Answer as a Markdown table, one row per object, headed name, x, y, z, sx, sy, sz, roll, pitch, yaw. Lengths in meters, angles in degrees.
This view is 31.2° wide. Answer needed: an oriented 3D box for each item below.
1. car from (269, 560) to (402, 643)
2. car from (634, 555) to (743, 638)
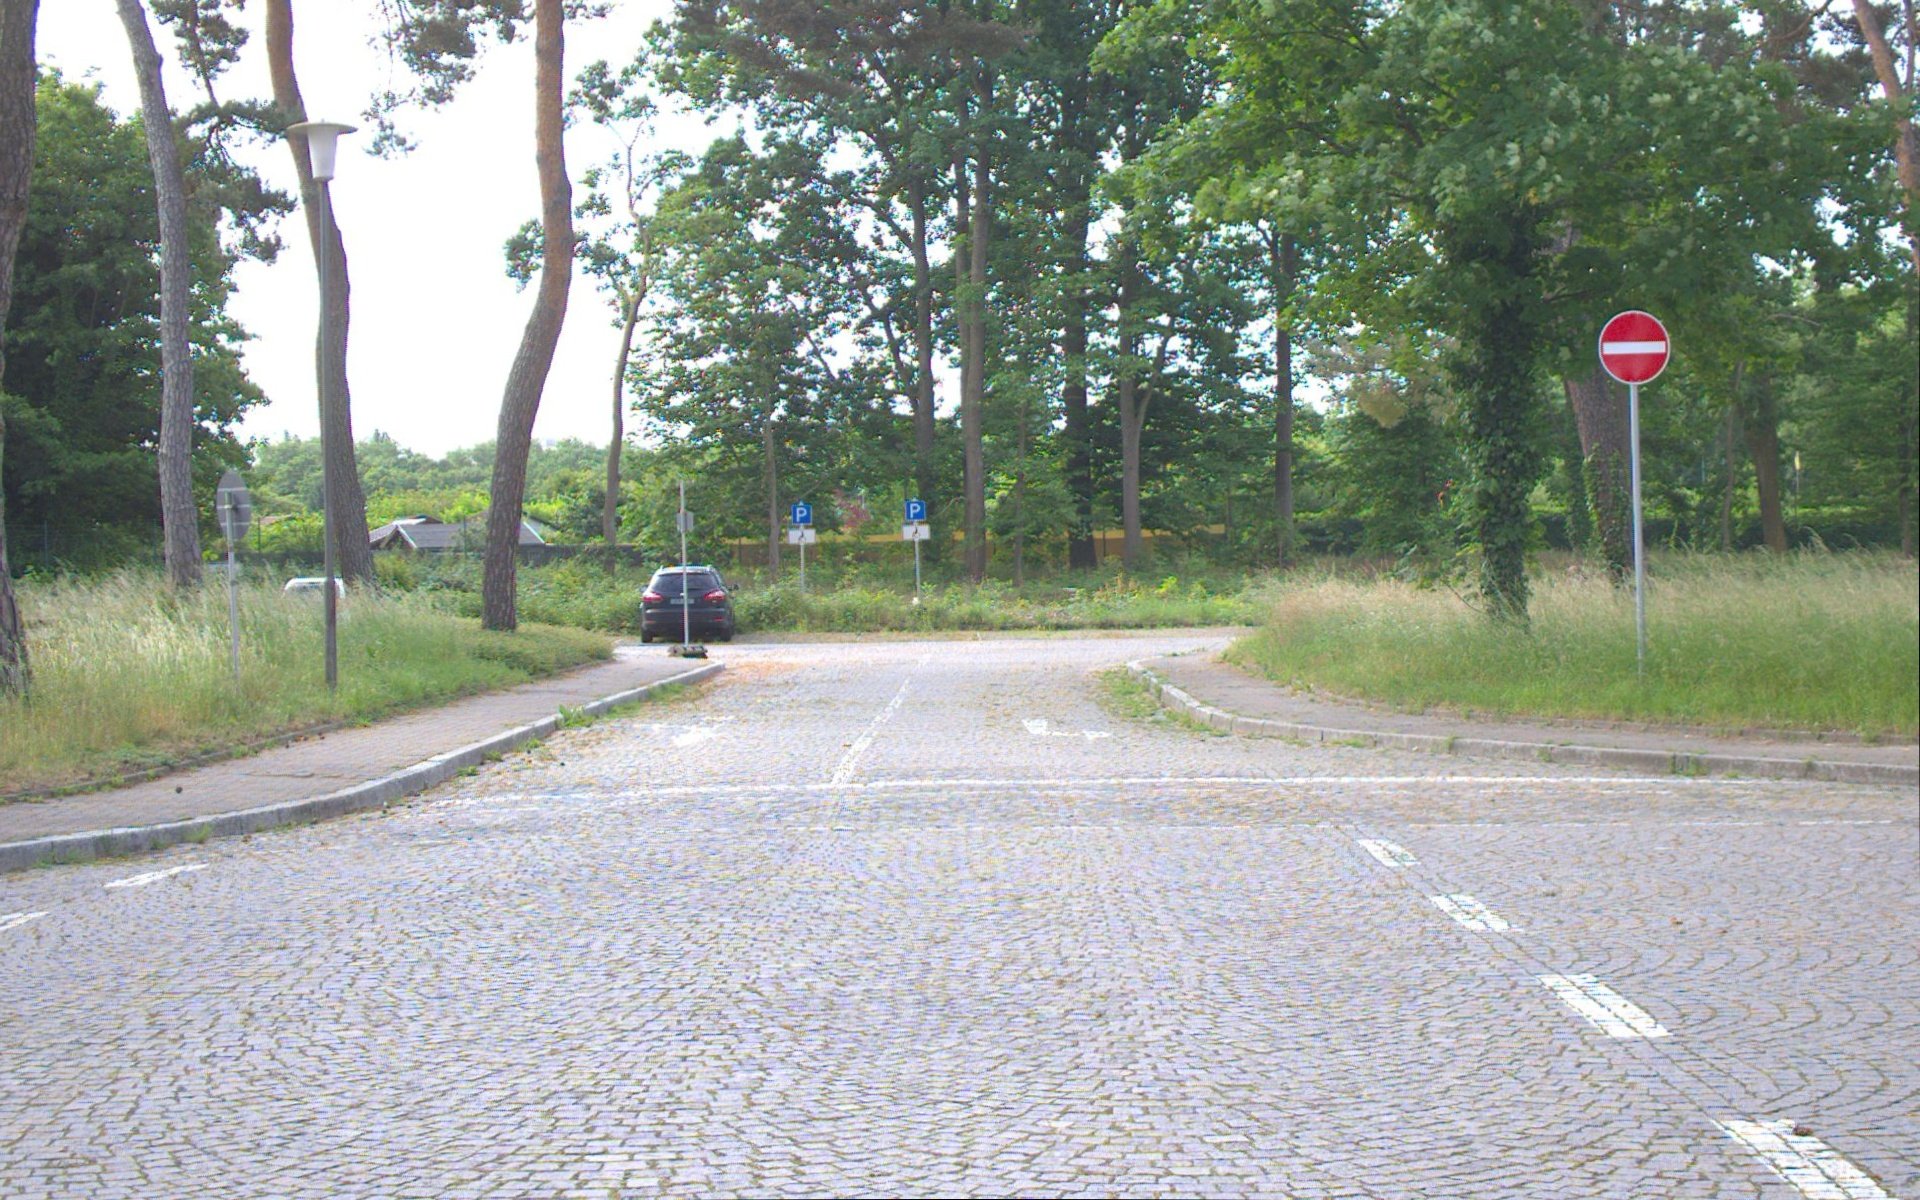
| name | x | y | z | sx | sy | sz | roll | pitch | yaw |
| --- | --- | --- | --- | --- | --- | --- | --- | --- | --- |
| car | -12.906 | 0.007 | 71.217 | 1.711 | 1.605 | 4.057 | 1 | 1 | 5 |
| car | -5.535 | -0.102 | 70.432 | 1.711 | 1.605 | 4.058 | 1 | 1 | 3 |
